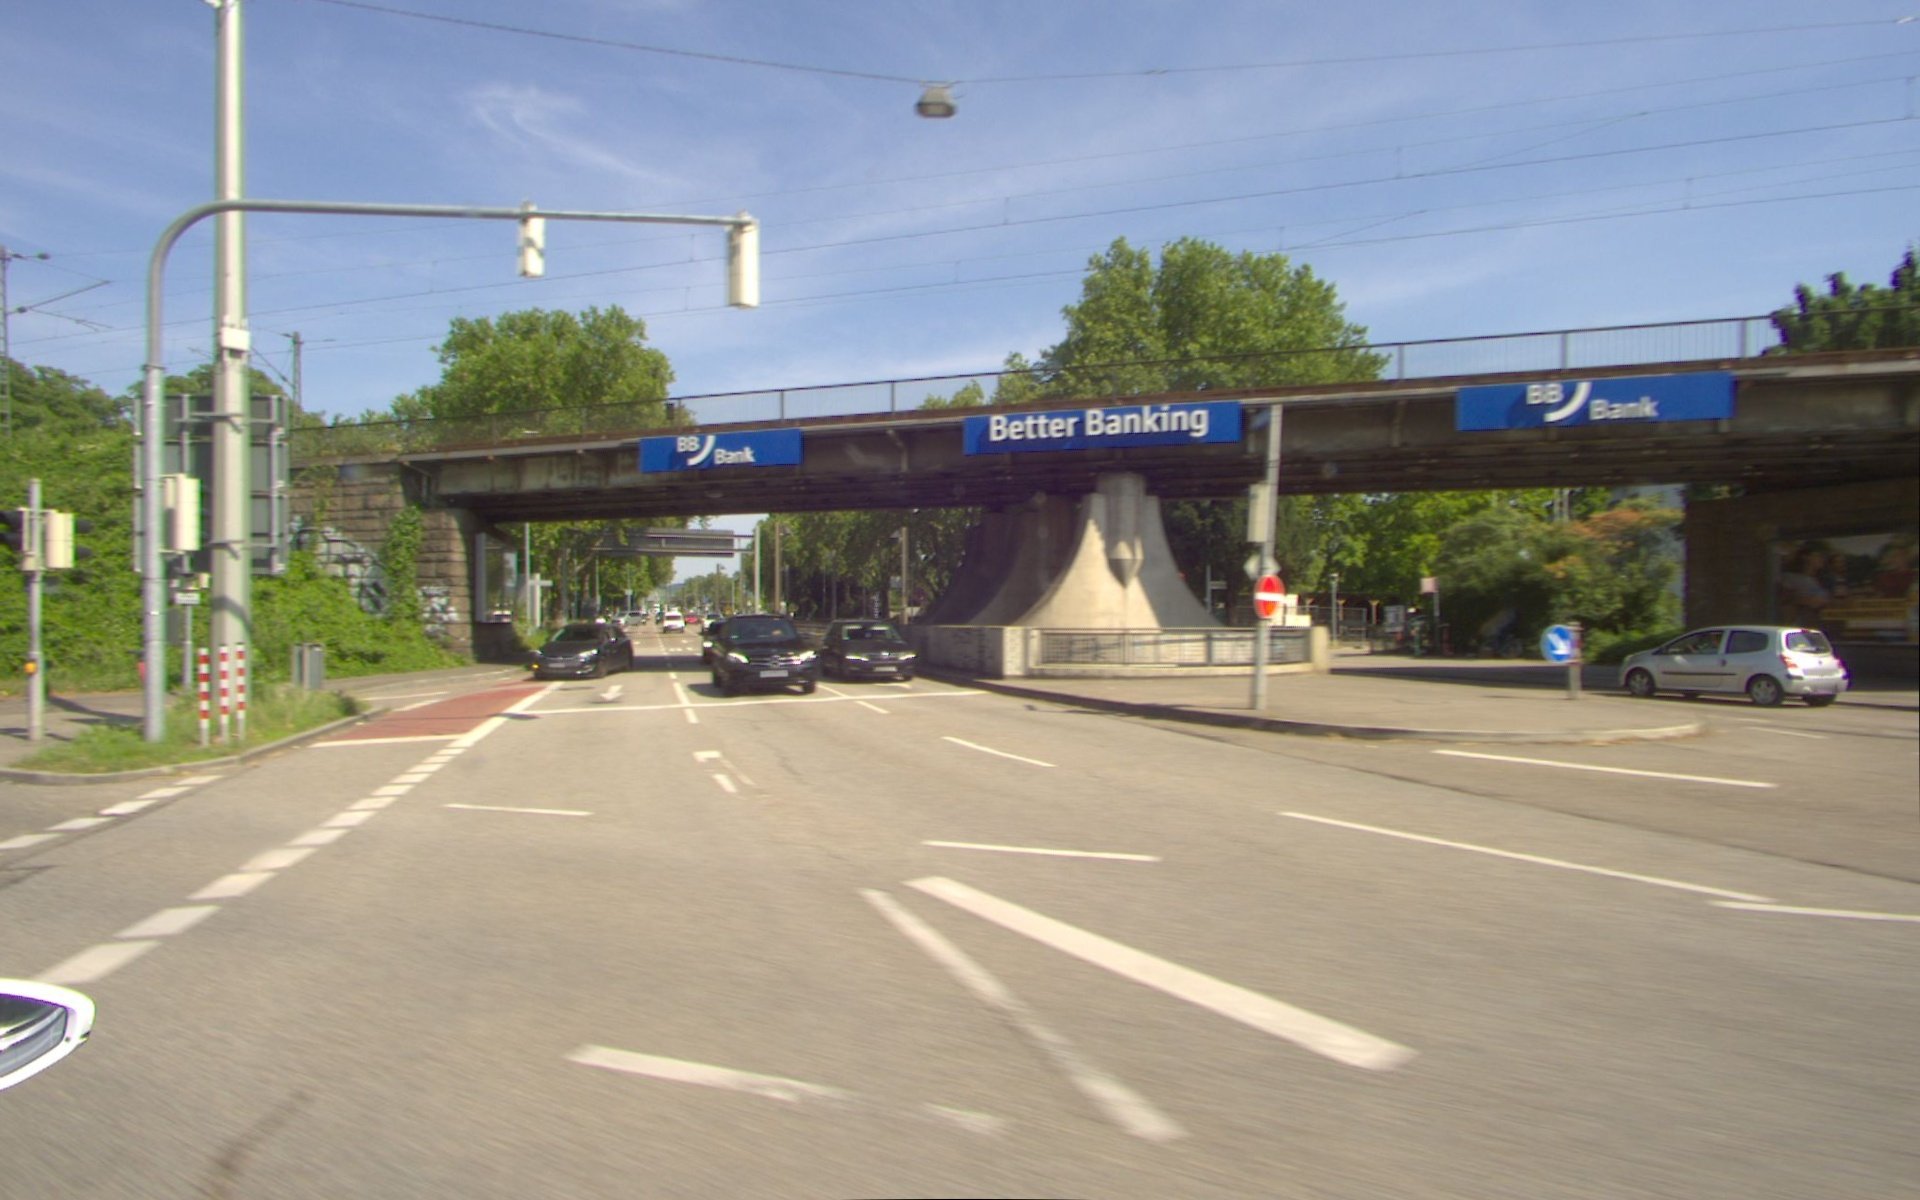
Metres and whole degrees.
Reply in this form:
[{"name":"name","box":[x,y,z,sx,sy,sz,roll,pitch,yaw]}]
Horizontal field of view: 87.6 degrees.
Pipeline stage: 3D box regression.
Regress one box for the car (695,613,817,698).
[{"name":"car","box":[-4.484,1.099,21.483,1.966,1.617,4.434,1,-1,-20]}]

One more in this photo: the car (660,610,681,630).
[{"name":"car","box":[-25.480,1.751,88.126,1.771,1.739,3.994,0,-1,-16]}]

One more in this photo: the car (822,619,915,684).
[{"name":"car","box":[-2.332,1.196,24.686,1.662,1.461,3.995,0,-1,-15]}]

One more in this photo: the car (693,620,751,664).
[{"name":"car","box":[-8.338,1.412,34.875,1.678,1.438,3.992,1,-1,-18]}]

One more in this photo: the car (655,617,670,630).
[{"name":"car","box":[-42.056,3.299,141.565,1.964,1.801,4.311,0,-1,-16]}]

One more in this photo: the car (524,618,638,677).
[{"name":"car","box":[-10.464,1.272,27.972,1.792,1.526,4.216,0,-1,-4]}]

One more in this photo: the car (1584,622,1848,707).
[{"name":"car","box":[14.686,1.198,19.719,1.686,1.469,3.886,2,-1,-17]}]

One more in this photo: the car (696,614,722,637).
[{"name":"car","box":[-21.175,2.145,84.281,1.965,1.854,4.313,0,-1,-16]}]

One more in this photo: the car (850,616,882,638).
[{"name":"car","box":[-7.804,2.214,82.705,1.817,1.730,3.993,0,-1,-18]}]
